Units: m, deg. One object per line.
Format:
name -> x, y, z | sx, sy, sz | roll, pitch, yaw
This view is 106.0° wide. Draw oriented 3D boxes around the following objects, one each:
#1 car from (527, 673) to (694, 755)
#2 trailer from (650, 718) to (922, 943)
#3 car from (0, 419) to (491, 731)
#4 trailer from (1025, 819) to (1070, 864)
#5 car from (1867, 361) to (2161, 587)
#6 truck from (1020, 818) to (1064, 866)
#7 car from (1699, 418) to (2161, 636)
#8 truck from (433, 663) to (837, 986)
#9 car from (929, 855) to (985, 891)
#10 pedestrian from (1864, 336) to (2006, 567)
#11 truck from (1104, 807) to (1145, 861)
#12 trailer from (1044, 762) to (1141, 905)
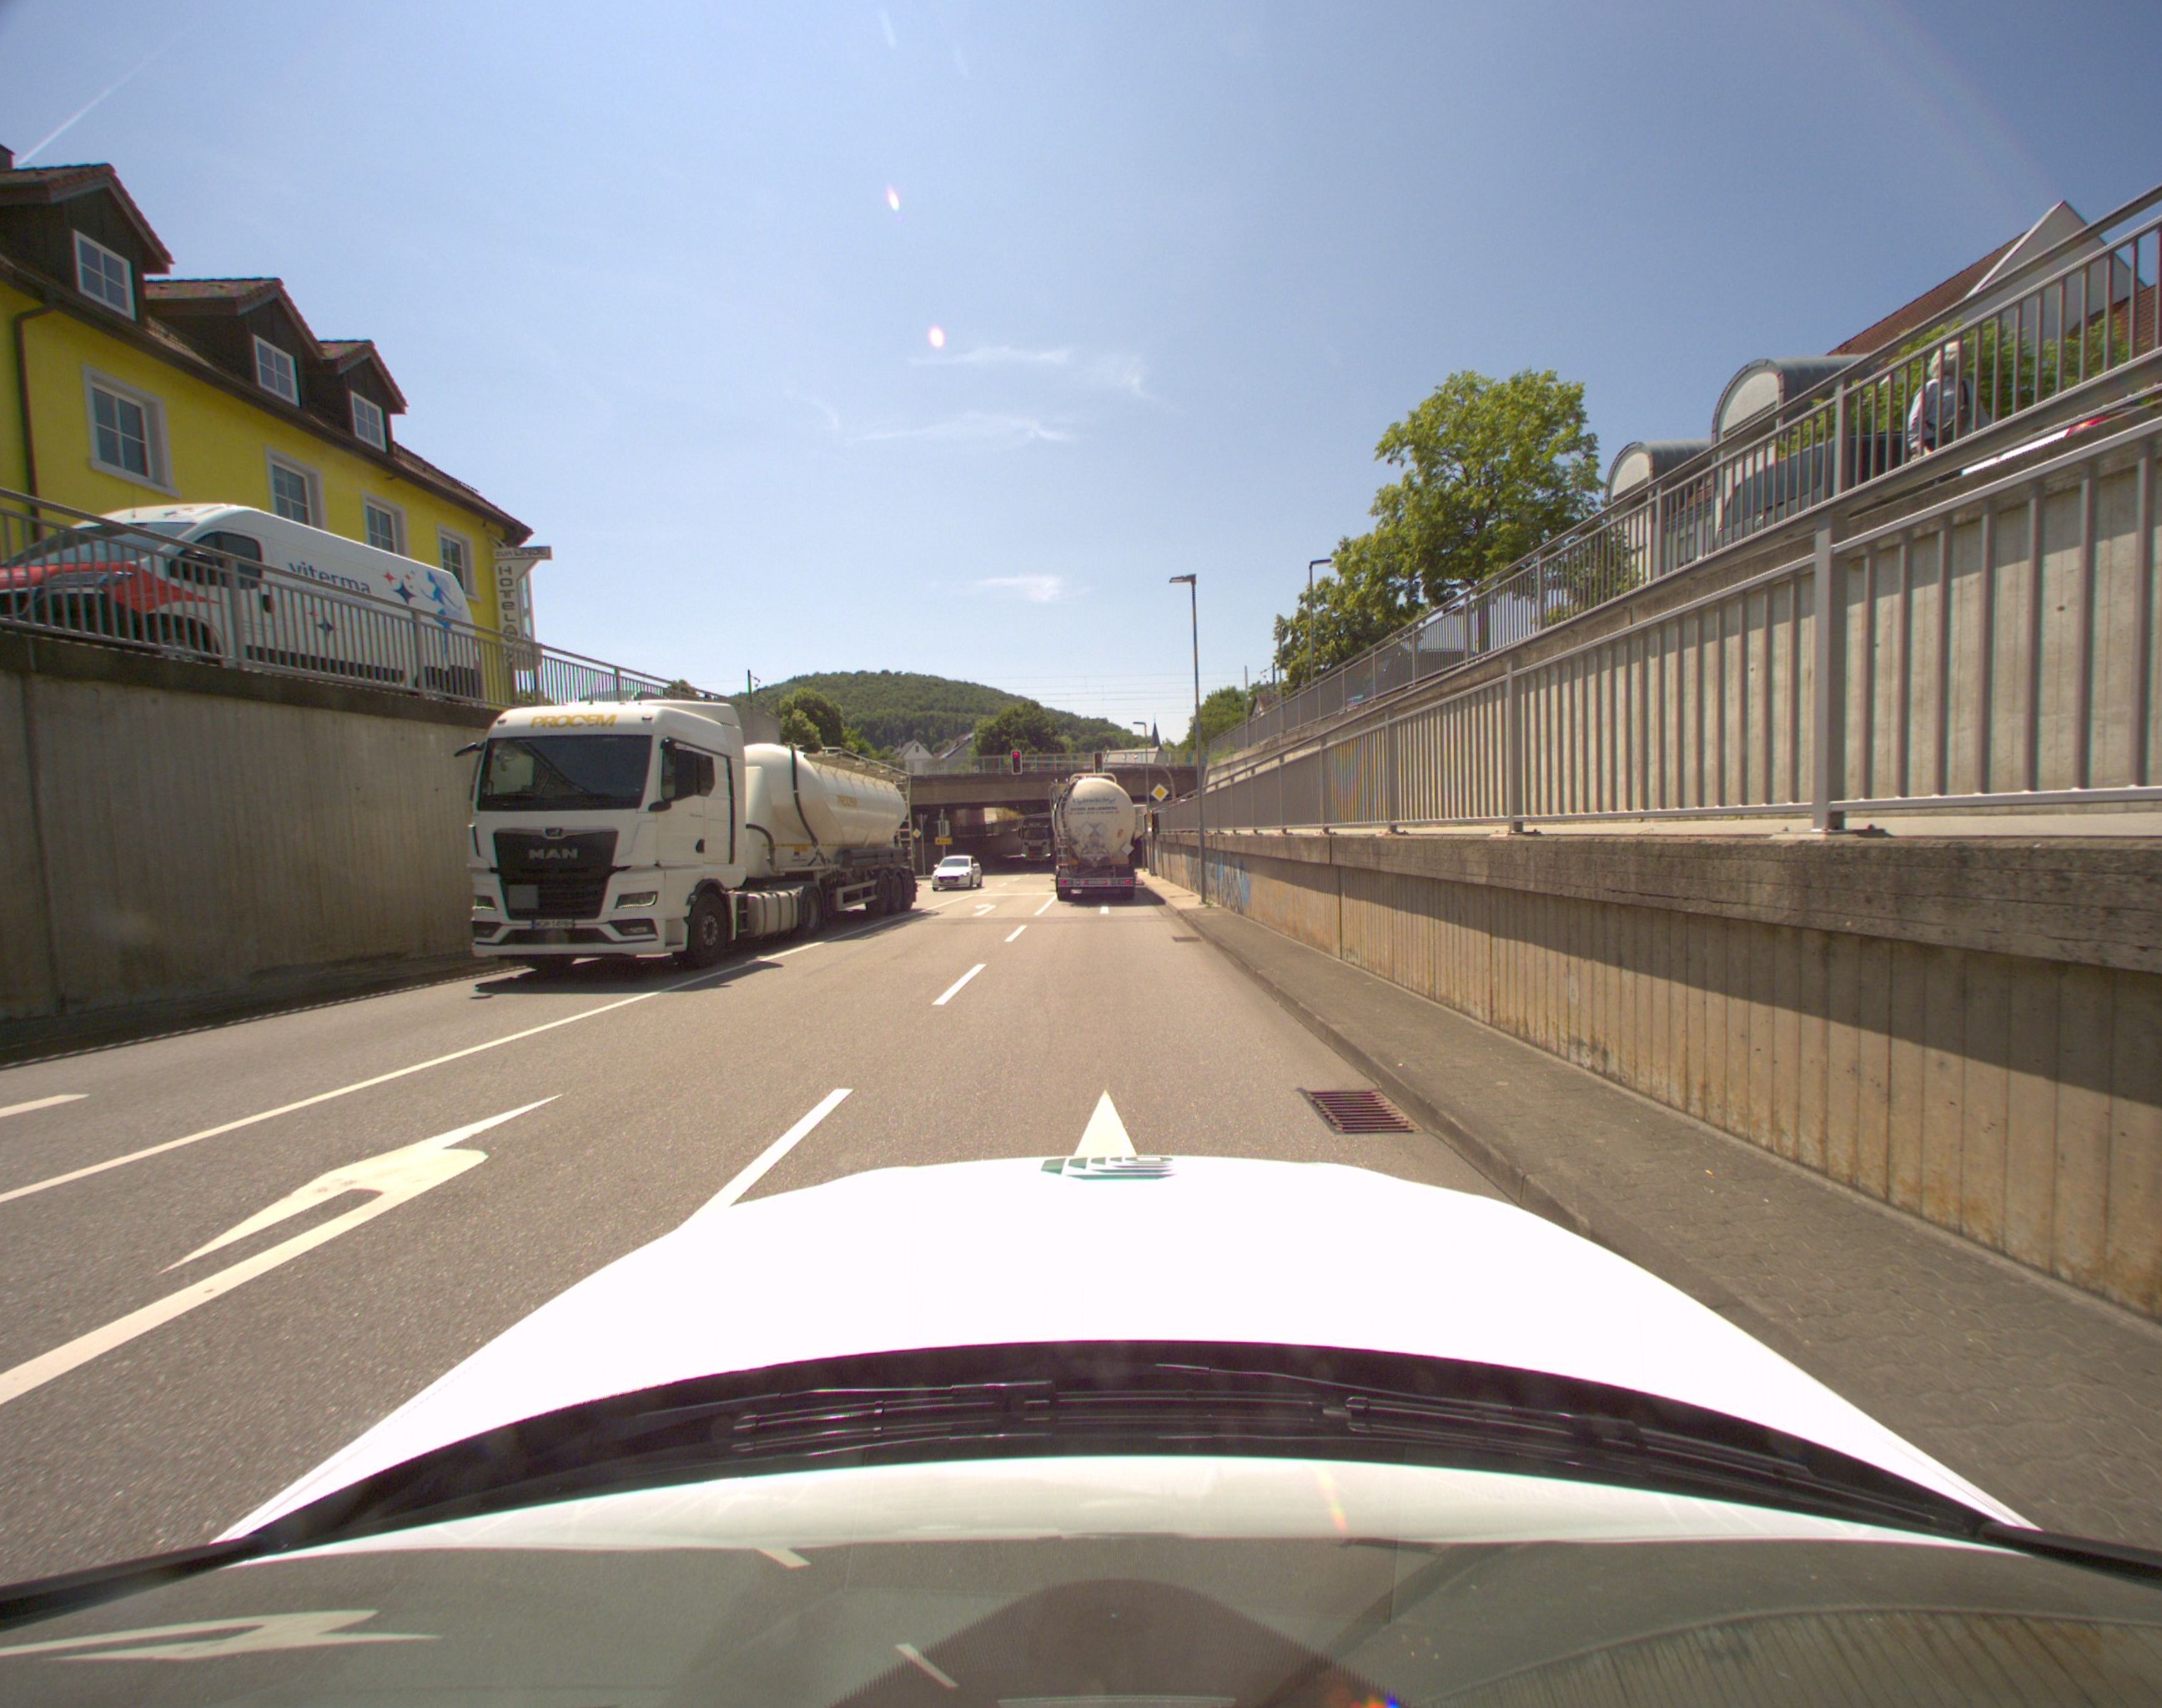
car -> -11.199, -3.300, 19.743 | 1.613, 1.500, 4.045 | -1, 3, 0
trailer -> -6.174, -0.415, 19.169 | 2.600, 3.964, 9.351 | -1, 0, 2
car -> -11.139, -3.218, 10.993 | 2.058, 2.535, 5.663 | -1, 3, 0
trailer -> -2.801, -1.048, 71.079 | 2.677, 3.663, 9.902 | -1, 0, 5
car -> 10.140, -3.517, 7.630 | 3.890, 1.367, 1.687 | -2, 3, 2
truck -> -3.095, -0.959, 66.713 | 2.677, 3.663, 7.378 | -1, 0, 4
car -> 10.230, -3.913, 10.062 | 3.890, 1.884, 1.687 | -2, 3, 2
truck -> -6.405, -0.352, 13.164 | 2.651, 3.860, 6.583 | -1, 0, 2
car -> -5.436, 0.794, 36.296 | 1.675, 1.440, 4.096 | -2, 0, 2
pedestrian -> 7.771, -3.630, 7.440 | 0.670, 1.779, 0.595 | -2, 3, 3
truck -> 4.413, -1.970, 80.570 | 3.063, 4.999, 10.107 | 0, 1, 8
trailer -> 0.634, -0.624, 30.158 | 2.724, 4.064, 13.322 | -1, 0, 3
